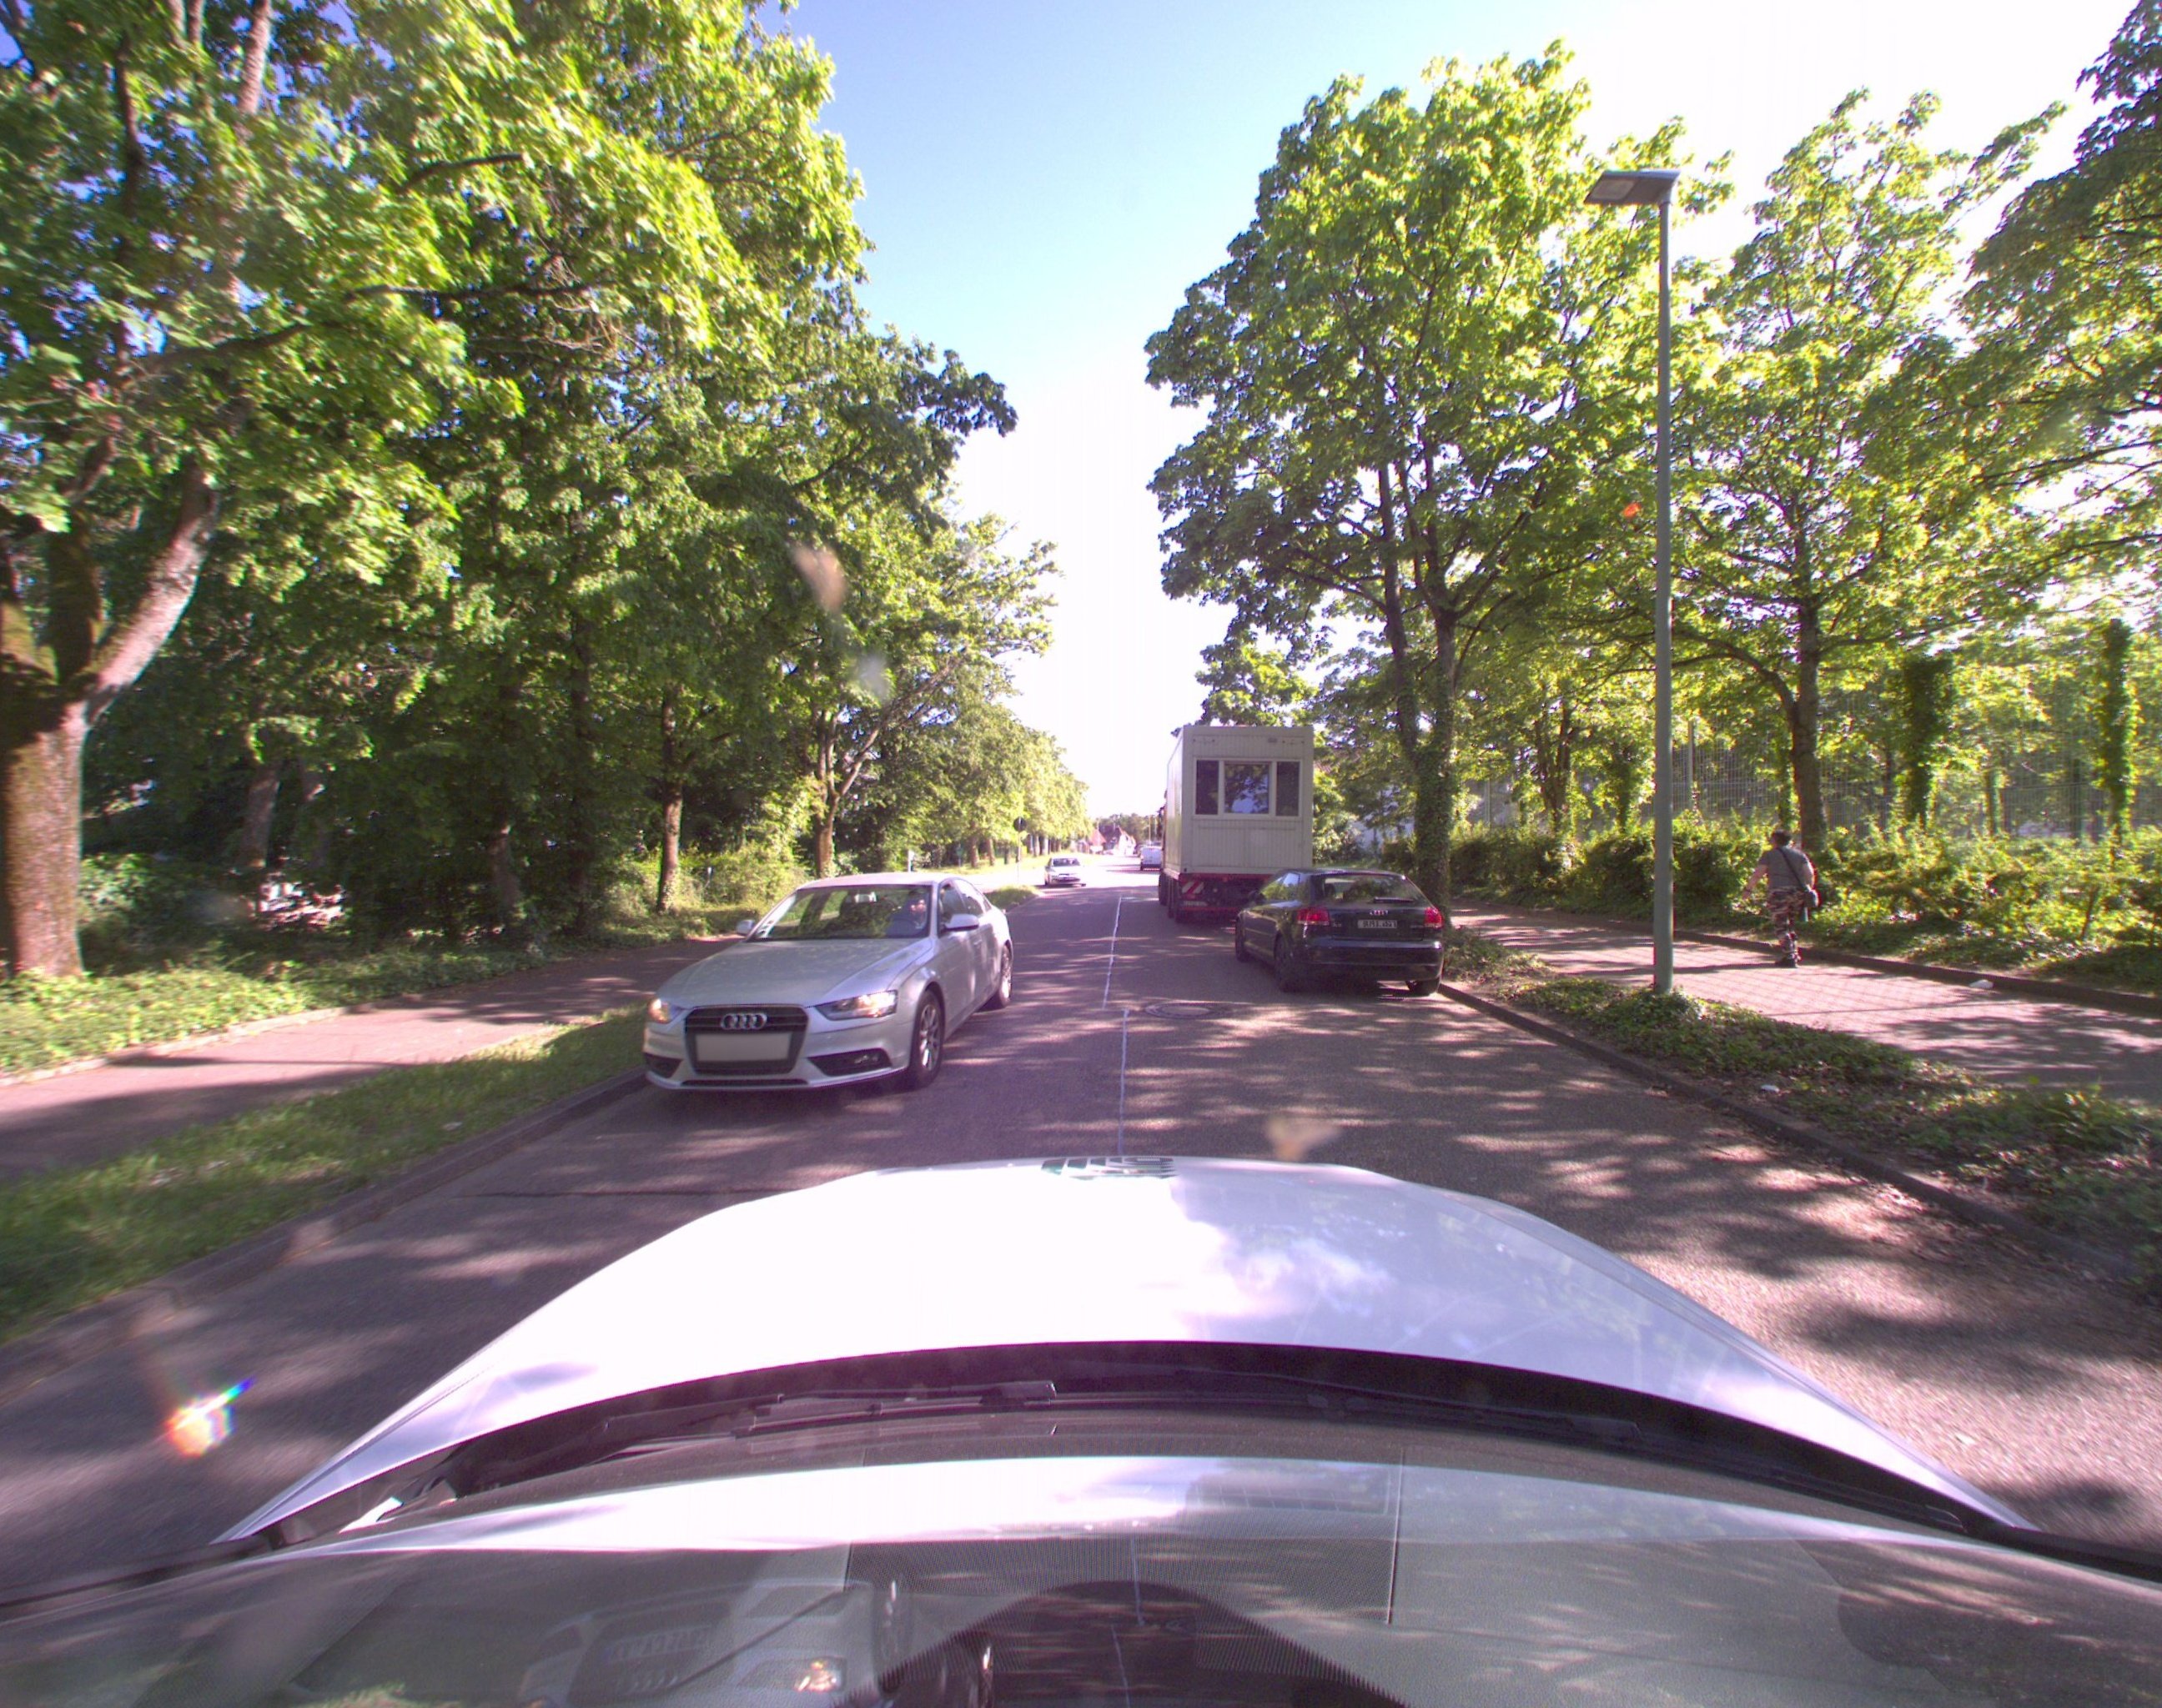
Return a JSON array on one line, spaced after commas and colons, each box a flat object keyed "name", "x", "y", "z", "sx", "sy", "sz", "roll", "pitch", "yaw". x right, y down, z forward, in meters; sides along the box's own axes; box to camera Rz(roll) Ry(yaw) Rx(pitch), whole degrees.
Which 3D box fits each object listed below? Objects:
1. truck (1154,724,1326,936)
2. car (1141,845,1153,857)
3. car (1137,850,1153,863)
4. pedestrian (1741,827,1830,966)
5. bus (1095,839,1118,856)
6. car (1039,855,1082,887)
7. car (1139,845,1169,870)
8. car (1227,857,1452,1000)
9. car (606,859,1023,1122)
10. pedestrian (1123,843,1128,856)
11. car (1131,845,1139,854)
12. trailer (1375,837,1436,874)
[{"name": "truck", "x": 3.481, "y": -0.498, "z": 20.659, "sx": 2.762, "sy": 3.995, "sz": 10.355, "roll": 1, "pitch": 0, "yaw": 3}, {"name": "car", "x": 10.667, "y": -0.461, "z": 131.788, "sx": 1.774, "sy": 1.808, "sz": 4.002, "roll": -1, "pitch": 0, "yaw": 2}, {"name": "car", "x": 8.035, "y": 0.288, "z": 102.705, "sx": 1.774, "sy": 1.652, "sz": 4.002, "roll": -1, "pitch": 0, "yaw": 2}, {"name": "pedestrian", "x": 8.450, "y": 0.491, "z": 9.792, "sx": 0.567, "sy": 1.608, "sz": 0.673, "roll": 0, "pitch": 0, "yaw": 12}, {"name": "bus", "x": 5.455, "y": -1.434, "z": 171.619, "sx": 4.045, "sy": 3.349, "sz": 9.816, "roll": -1, "pitch": 0, "yaw": 5}, {"name": "car", "x": -1.033, "y": 0.787, "z": 39.298, "sx": 1.802, "sy": 1.420, "sz": 3.952, "roll": -2, "pitch": 0, "yaw": -5}, {"name": "car", "x": 5.606, "y": 0.247, "z": 62.886, "sx": 1.940, "sy": 1.843, "sz": 4.000, "roll": 0, "pitch": 0, "yaw": 0}, {"name": "car", "x": 3.025, "y": 0.774, "z": 10.406, "sx": 1.634, "sy": 1.420, "sz": 4.000, "roll": 1, "pitch": 0, "yaw": 0}, {"name": "car", "x": -1.701, "y": 0.813, "z": 6.753, "sx": 1.778, "sy": 1.416, "sz": 4.110, "roll": -2, "pitch": 0, "yaw": 4}, {"name": "pedestrian", "x": 7.083, "y": -0.693, "z": 128.906, "sx": 0.748, "sy": 2.113, "sz": 0.800, "roll": 1, "pitch": 0, "yaw": 6}, {"name": "car", "x": 12.210, "y": -1.030, "z": 184.672, "sx": 1.774, "sy": 1.808, "sz": 4.002, "roll": -1, "pitch": 0, "yaw": 2}, {"name": "trailer", "x": 19.110, "y": 0.099, "z": 48.044, "sx": 2.932, "sy": 2.116, "sz": 1.611, "roll": -1, "pitch": 0, "yaw": 1}]
